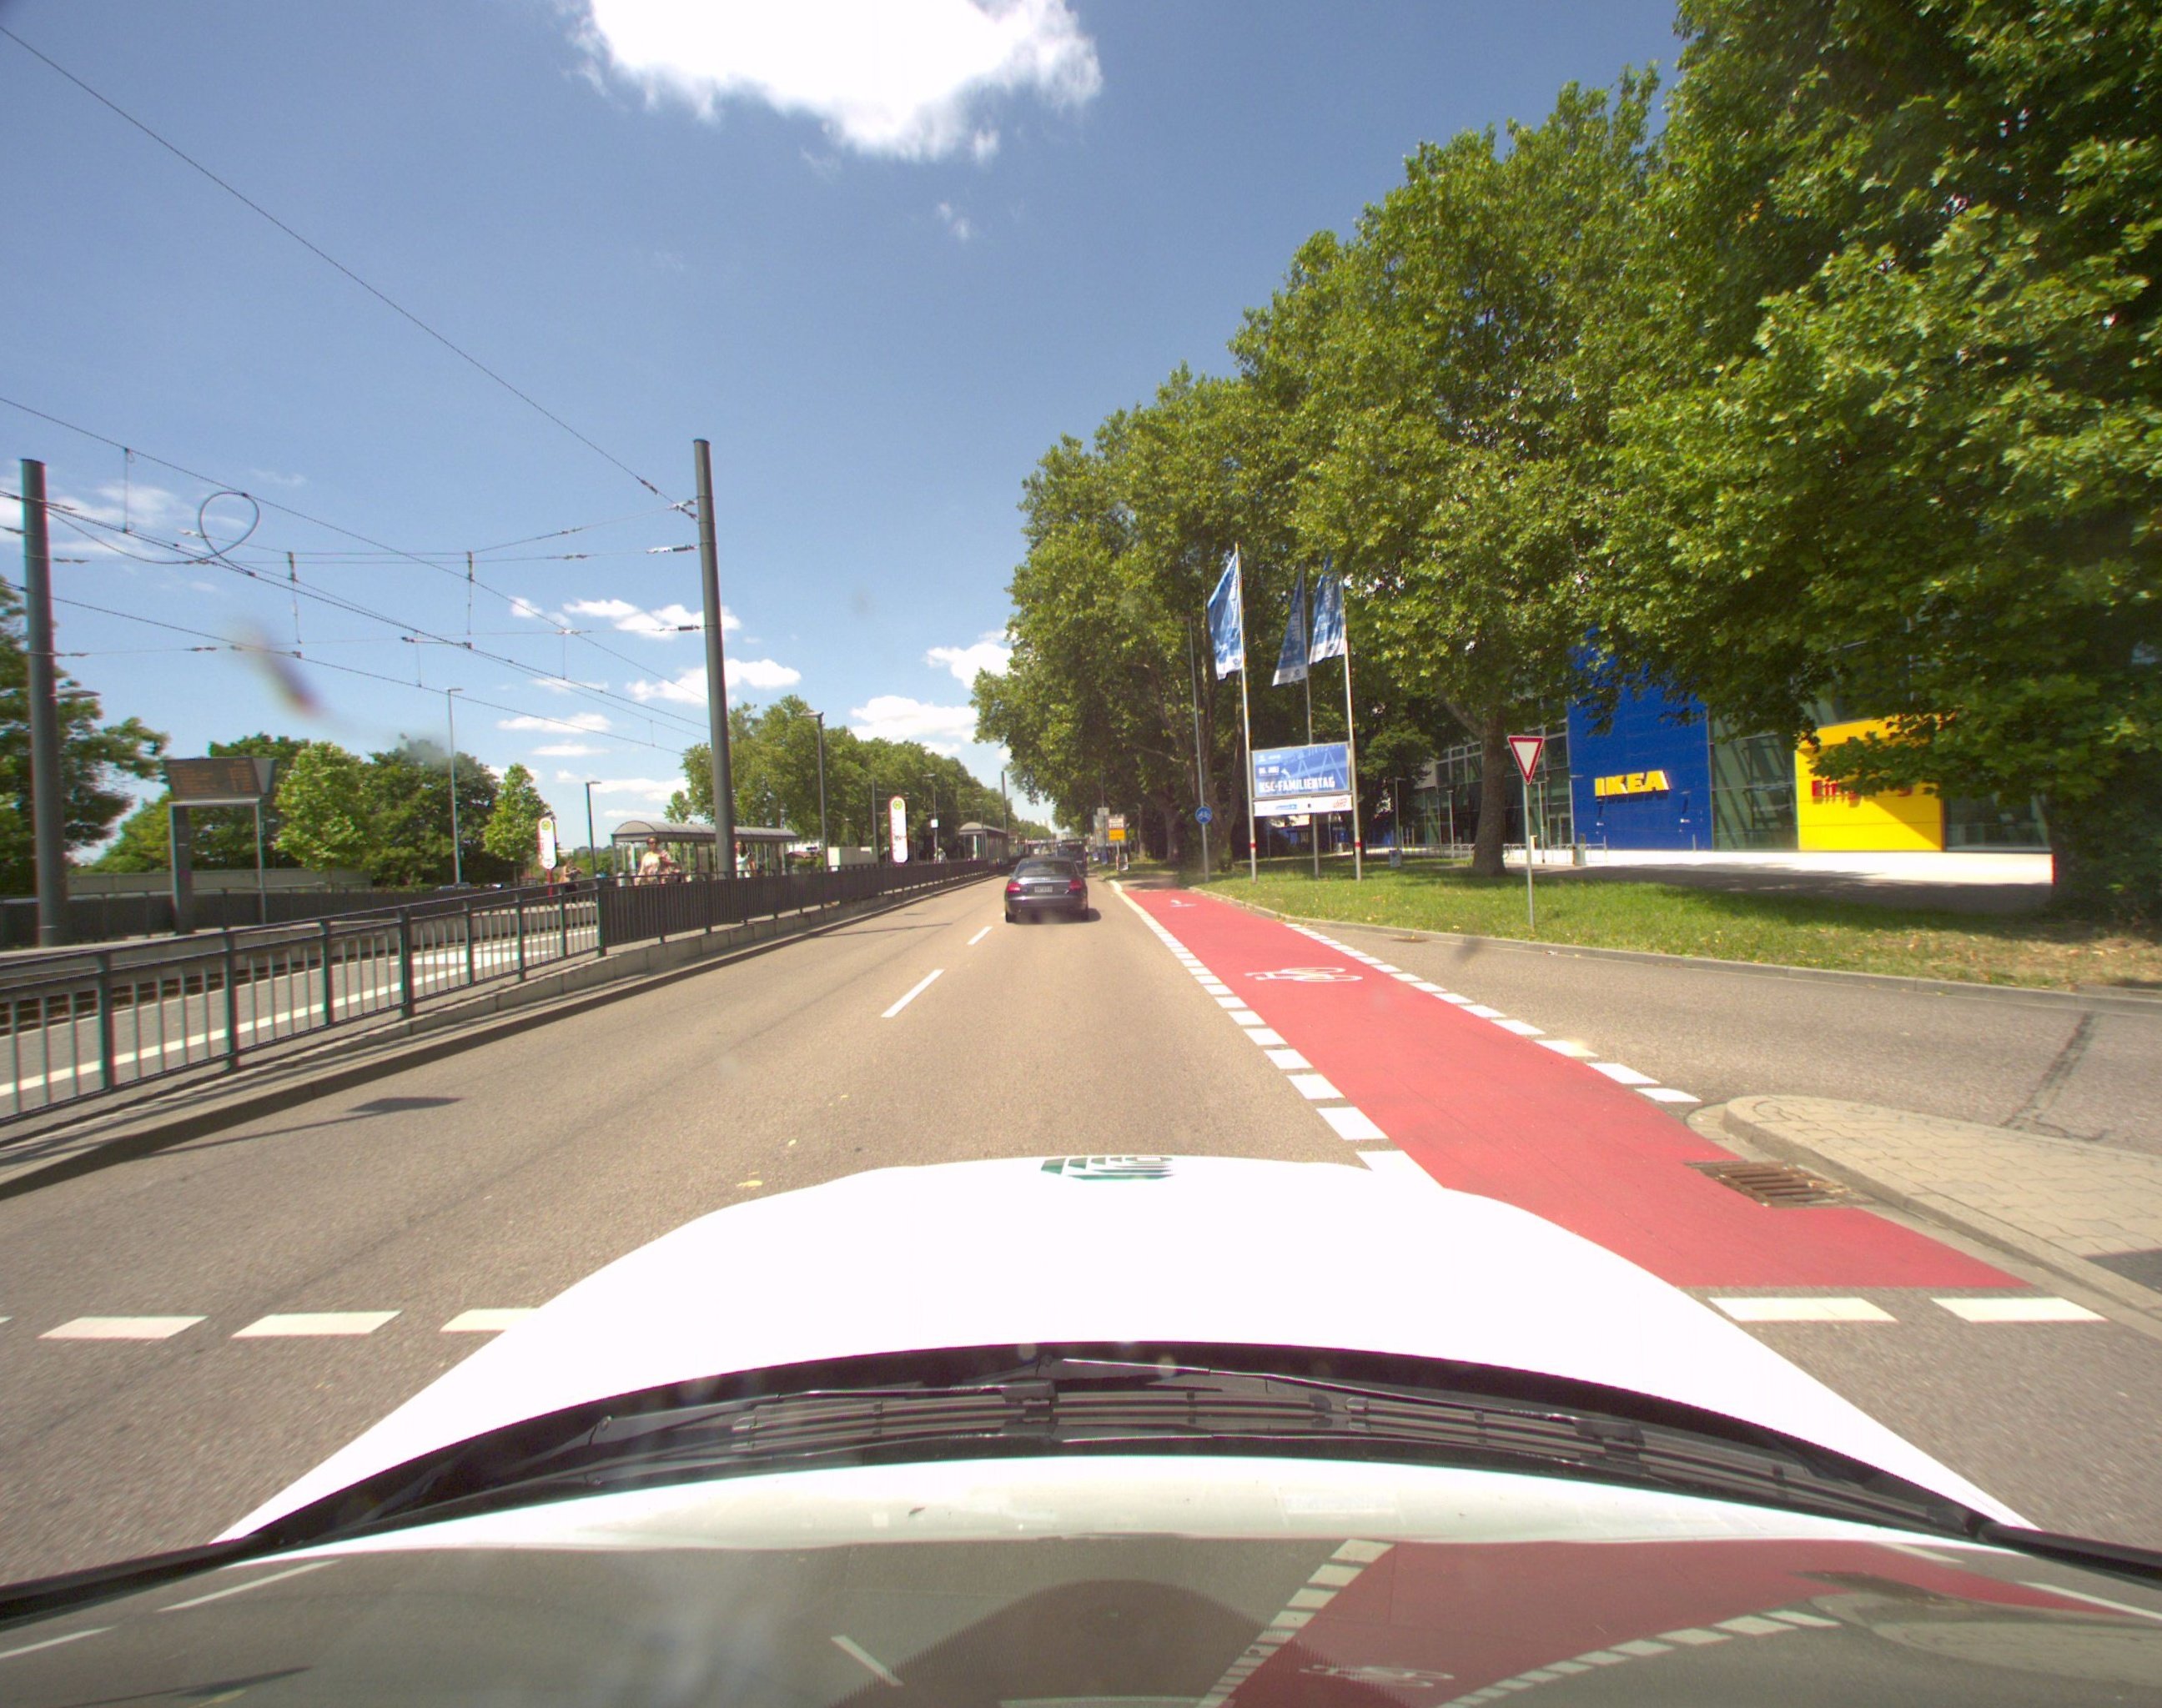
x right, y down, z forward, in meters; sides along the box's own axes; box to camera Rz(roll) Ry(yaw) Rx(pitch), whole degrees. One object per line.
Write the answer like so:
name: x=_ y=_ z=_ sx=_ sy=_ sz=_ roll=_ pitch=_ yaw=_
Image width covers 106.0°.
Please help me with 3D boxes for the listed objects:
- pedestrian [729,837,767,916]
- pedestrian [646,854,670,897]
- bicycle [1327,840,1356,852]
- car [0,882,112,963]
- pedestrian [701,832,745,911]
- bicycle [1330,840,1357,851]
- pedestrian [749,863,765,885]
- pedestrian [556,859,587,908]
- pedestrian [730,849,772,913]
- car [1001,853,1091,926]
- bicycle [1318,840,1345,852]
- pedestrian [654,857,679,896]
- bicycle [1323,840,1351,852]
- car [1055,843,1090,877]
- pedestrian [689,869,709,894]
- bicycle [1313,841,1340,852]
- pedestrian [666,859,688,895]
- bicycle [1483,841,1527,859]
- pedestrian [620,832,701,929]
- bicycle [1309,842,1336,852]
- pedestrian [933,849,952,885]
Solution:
pedestrian: x=-6.762 y=0.448 z=16.540 sx=0.496 sy=1.577 sz=0.556 roll=-2 pitch=0 yaw=-2
pedestrian: x=-17.400 y=0.893 z=33.502 sx=0.729 sy=1.729 sz=0.582 roll=-2 pitch=0 yaw=37
bicycle: x=25.729 y=-0.810 z=80.449 sx=2.541 sy=1.110 sz=0.757 roll=-2 pitch=0 yaw=-5
car: x=-23.432 y=1.480 z=16.824 sx=1.986 sy=1.629 sz=4.001 roll=-1 pitch=0 yaw=1
pedestrian: x=-7.812 y=0.367 z=17.784 sx=0.612 sy=1.681 sz=0.719 roll=-1 pitch=0 yaw=-2
bicycle: x=25.564 y=-0.816 z=79.352 sx=2.312 sy=0.960 sz=0.757 roll=-2 pitch=0 yaw=-5
pedestrian: x=-17.972 y=1.116 z=45.160 sx=0.574 sy=1.190 sz=0.639 roll=-2 pitch=0 yaw=0
pedestrian: x=-17.649 y=1.001 z=28.228 sx=0.556 sy=1.638 sz=0.804 roll=-2 pitch=0 yaw=-7
pedestrian: x=-7.137 y=0.574 z=17.642 sx=0.612 sy=1.345 sz=0.719 roll=-1 pitch=0 yaw=-2
car: x=-0.767 y=0.734 z=18.970 sx=1.837 sy=1.484 sz=3.998 roll=-1 pitch=0 yaw=-1
bicycle: x=25.395 y=-0.787 z=82.562 sx=2.541 sy=1.110 sz=0.757 roll=-2 pitch=0 yaw=-5
pedestrian: x=-17.787 y=0.959 z=34.940 sx=0.817 sy=1.638 sz=0.582 roll=-2 pitch=0 yaw=37
bicycle: x=25.651 y=-0.800 z=81.490 sx=2.541 sy=1.110 sz=0.757 roll=-2 pitch=0 yaw=-5
car: x=-0.466 y=0.352 z=49.032 sx=1.841 sy=1.959 sz=4.146 roll=-1 pitch=0 yaw=2
pedestrian: x=-17.630 y=1.250 z=37.592 sx=0.574 sy=1.094 sz=0.639 roll=-2 pitch=0 yaw=0
bicycle: x=25.312 y=-0.775 z=83.852 sx=2.541 sy=1.110 sz=0.757 roll=-2 pitch=0 yaw=-5
pedestrian: x=-17.713 y=1.017 z=35.711 sx=0.574 sy=1.533 sz=0.639 roll=-2 pitch=0 yaw=0
bicycle: x=24.088 y=-0.216 z=46.314 sx=2.056 sy=0.969 sz=0.867 roll=-2 pitch=0 yaw=-5
pedestrian: x=-7.324 y=0.440 z=14.237 sx=0.888 sy=1.605 sz=0.923 roll=-2 pitch=0 yaw=-1
bicycle: x=25.249 y=-0.763 z=85.120 sx=2.541 sy=0.970 sz=0.757 roll=-2 pitch=0 yaw=-5
pedestrian: x=-6.524 y=0.617 z=38.449 sx=0.730 sy=1.665 sz=0.742 roll=-2 pitch=0 yaw=-1
